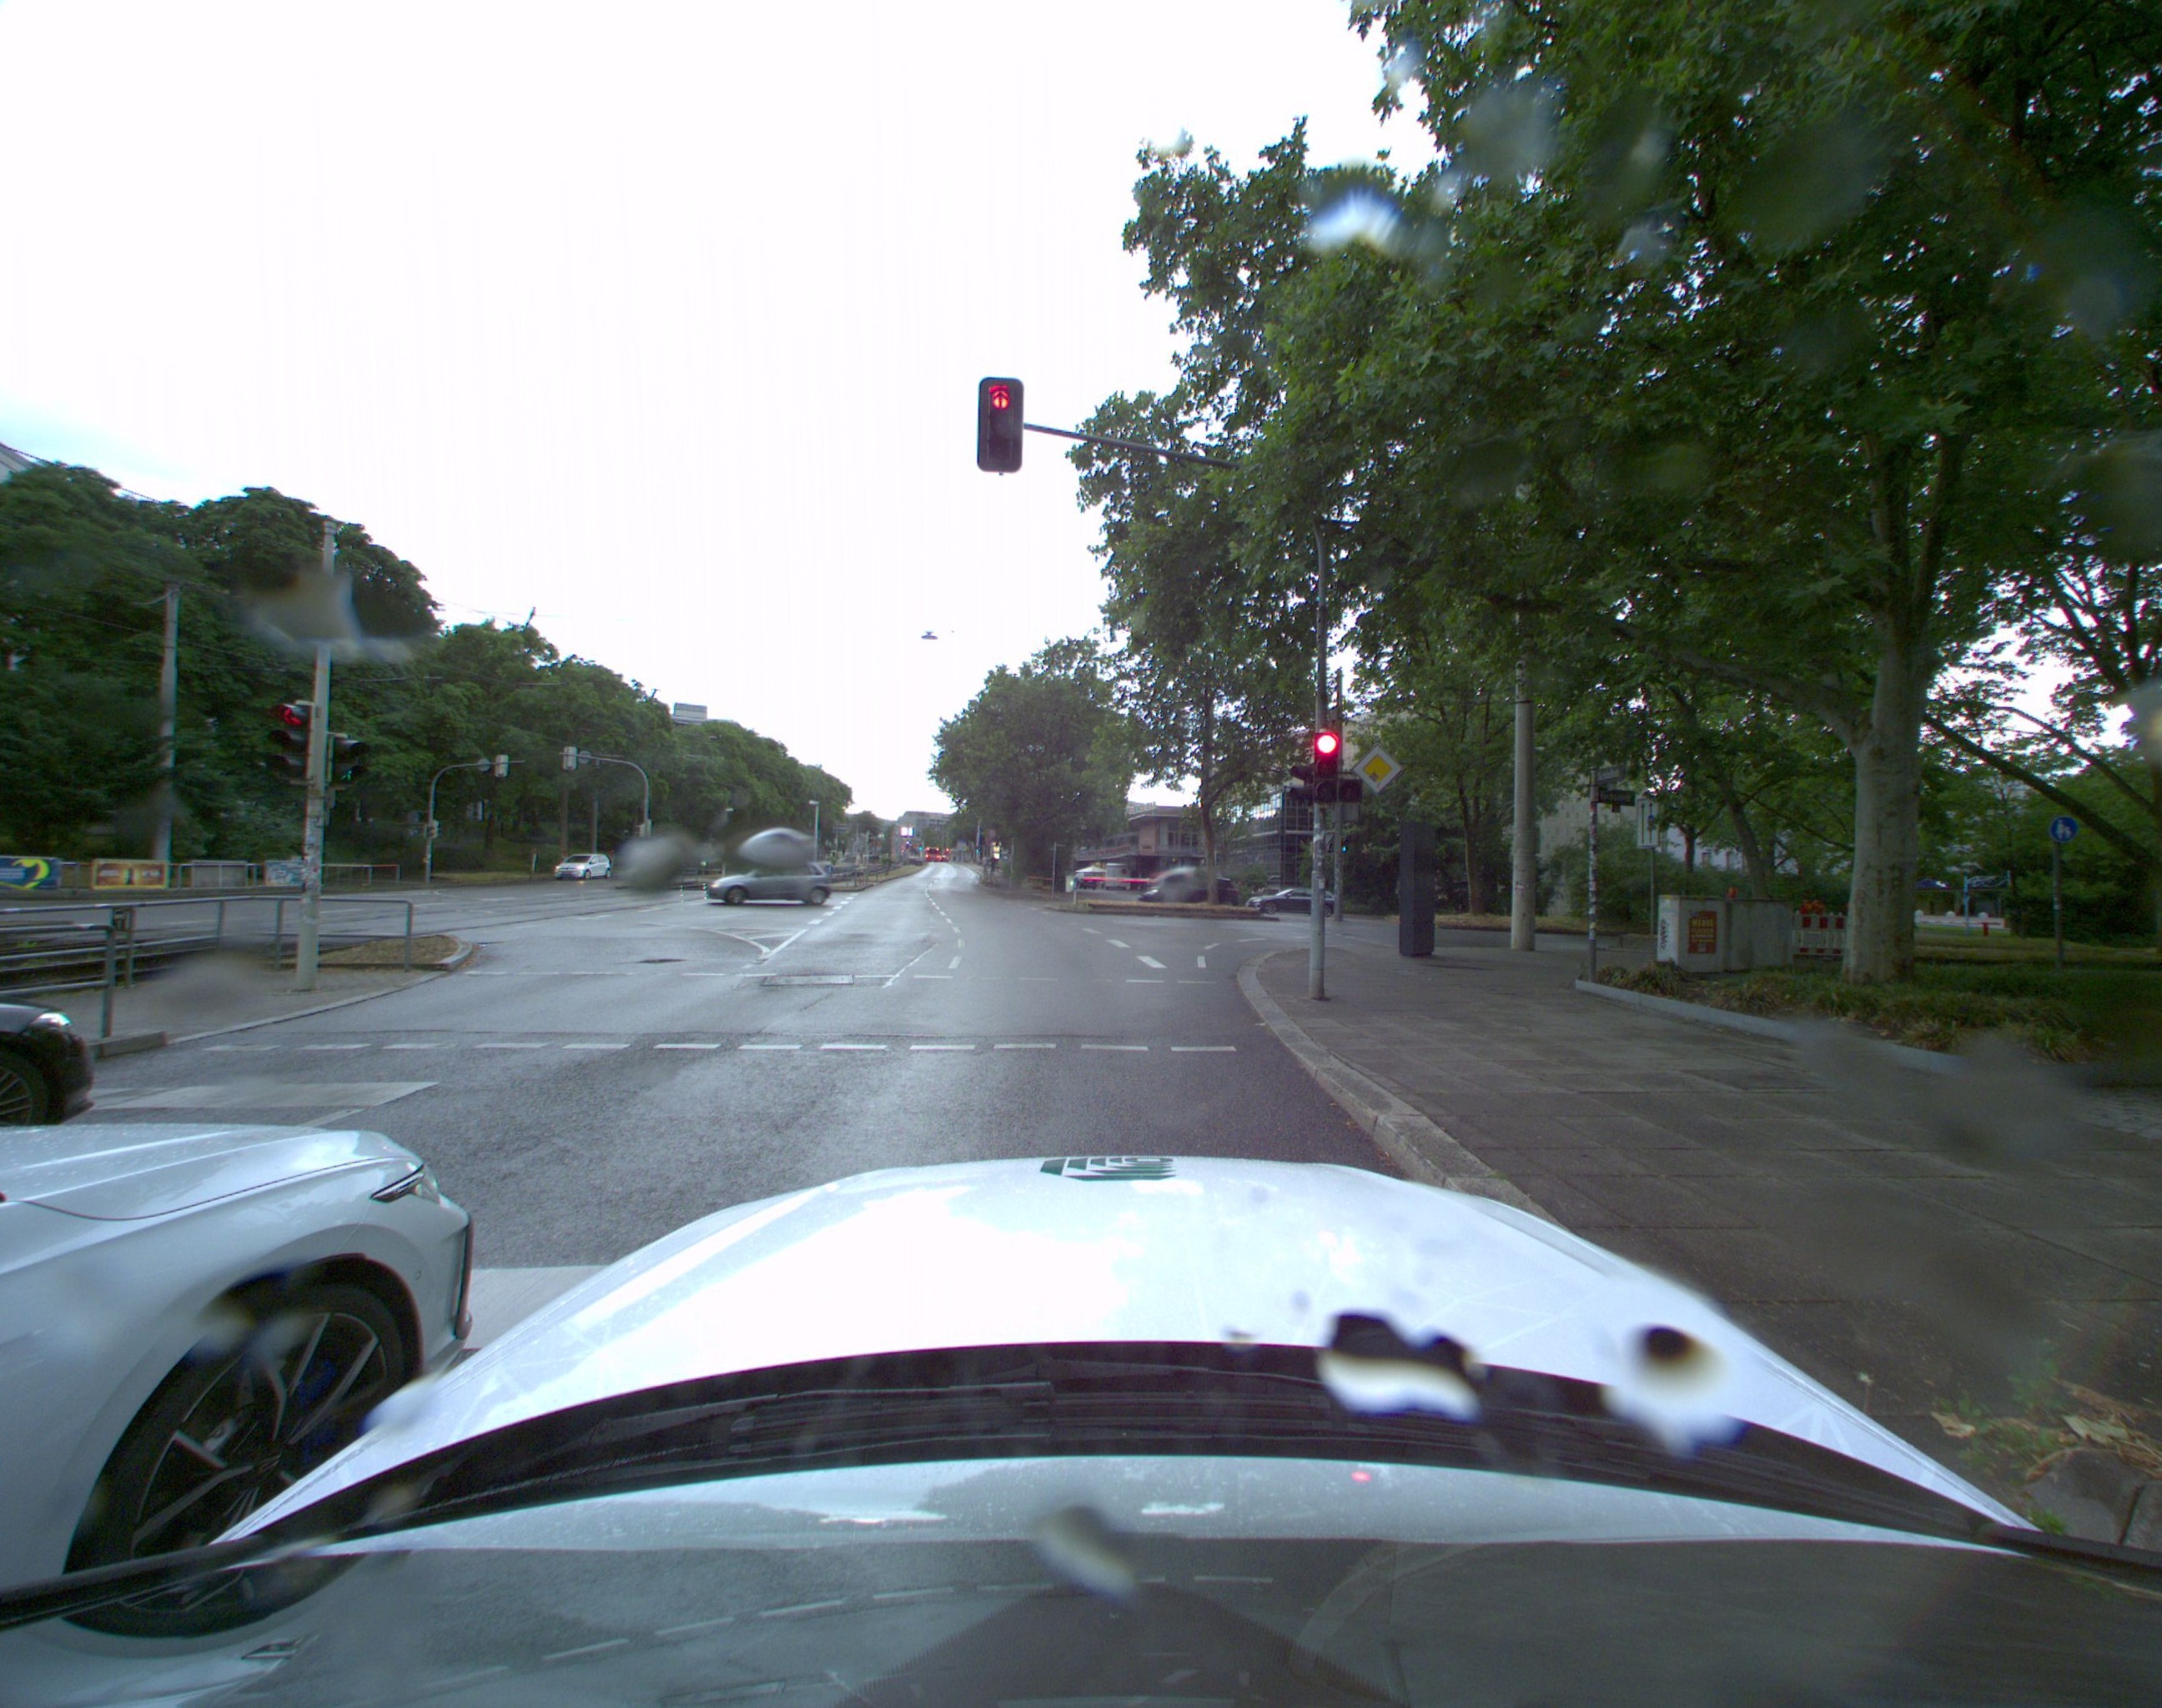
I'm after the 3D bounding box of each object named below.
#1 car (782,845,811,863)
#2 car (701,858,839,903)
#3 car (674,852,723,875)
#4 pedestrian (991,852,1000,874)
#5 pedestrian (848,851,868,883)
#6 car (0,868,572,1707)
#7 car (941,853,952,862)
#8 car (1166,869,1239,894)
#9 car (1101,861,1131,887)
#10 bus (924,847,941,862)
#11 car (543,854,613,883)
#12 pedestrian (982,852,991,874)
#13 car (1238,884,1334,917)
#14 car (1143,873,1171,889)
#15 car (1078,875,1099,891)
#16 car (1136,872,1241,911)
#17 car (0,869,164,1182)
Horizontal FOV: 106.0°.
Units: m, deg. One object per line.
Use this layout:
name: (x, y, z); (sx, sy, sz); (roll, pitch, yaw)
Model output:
car: (-31.260, 0.042, 89.558); (1.917, 1.851, 4.558); (1, -1, -5)
car: (-10.033, 0.862, 26.346); (3.884, 1.357, 1.616); (2, -1, -32)
car: (-27.048, 0.705, 57.703); (1.917, 1.546, 3.674); (1, -1, -5)
pedestrian: (-8.069, 0.841, 76.776); (0.873, 2.014, 1.075); (0, -1, -6)
pedestrian: (-12.915, 0.747, 47.138); (0.863, 1.802, 0.871); (2, -1, -2)
car: (-2.520, 0.752, 0.258); (1.789, 1.442, 4.477); (0, 0, 2)
car: (-30.120, 0.809, 182.386); (2.364, 1.817, 5.164); (0, -1, -11)
car: (9.274, 2.120, 62.110); (5.221, 1.731, 1.860); (2, -1, -23)
car: (3.873, 2.148, 91.561); (2.725, 2.695, 6.916); (2, 0, -2)
bus: (-32.436, 0.109, 177.470); (3.591, 3.171, 10.381); (0, -1, -11)
car: (-29.003, 0.830, 47.085); (1.917, 1.546, 3.674); (1, -1, -5)
pedestrian: (-8.914, 0.846, 76.628); (0.813, 2.014, 1.075); (0, -1, -6)
car: (10.306, 2.334, 41.184); (4.328, 1.519, 1.997); (0, -1, -5)
car: (8.286, 2.907, 89.150); (2.020, 1.551, 4.334); (2, 0, -10)
car: (0.858, 3.064, 88.060); (2.010, 1.551, 4.355); (2, 0, 4)
car: (4.239, 1.477, 32.349); (3.854, 1.357, 1.629); (2, 0, -7)
car: (-5.969, 0.794, 2.212); (1.789, 1.442, 4.477); (0, 0, 2)
